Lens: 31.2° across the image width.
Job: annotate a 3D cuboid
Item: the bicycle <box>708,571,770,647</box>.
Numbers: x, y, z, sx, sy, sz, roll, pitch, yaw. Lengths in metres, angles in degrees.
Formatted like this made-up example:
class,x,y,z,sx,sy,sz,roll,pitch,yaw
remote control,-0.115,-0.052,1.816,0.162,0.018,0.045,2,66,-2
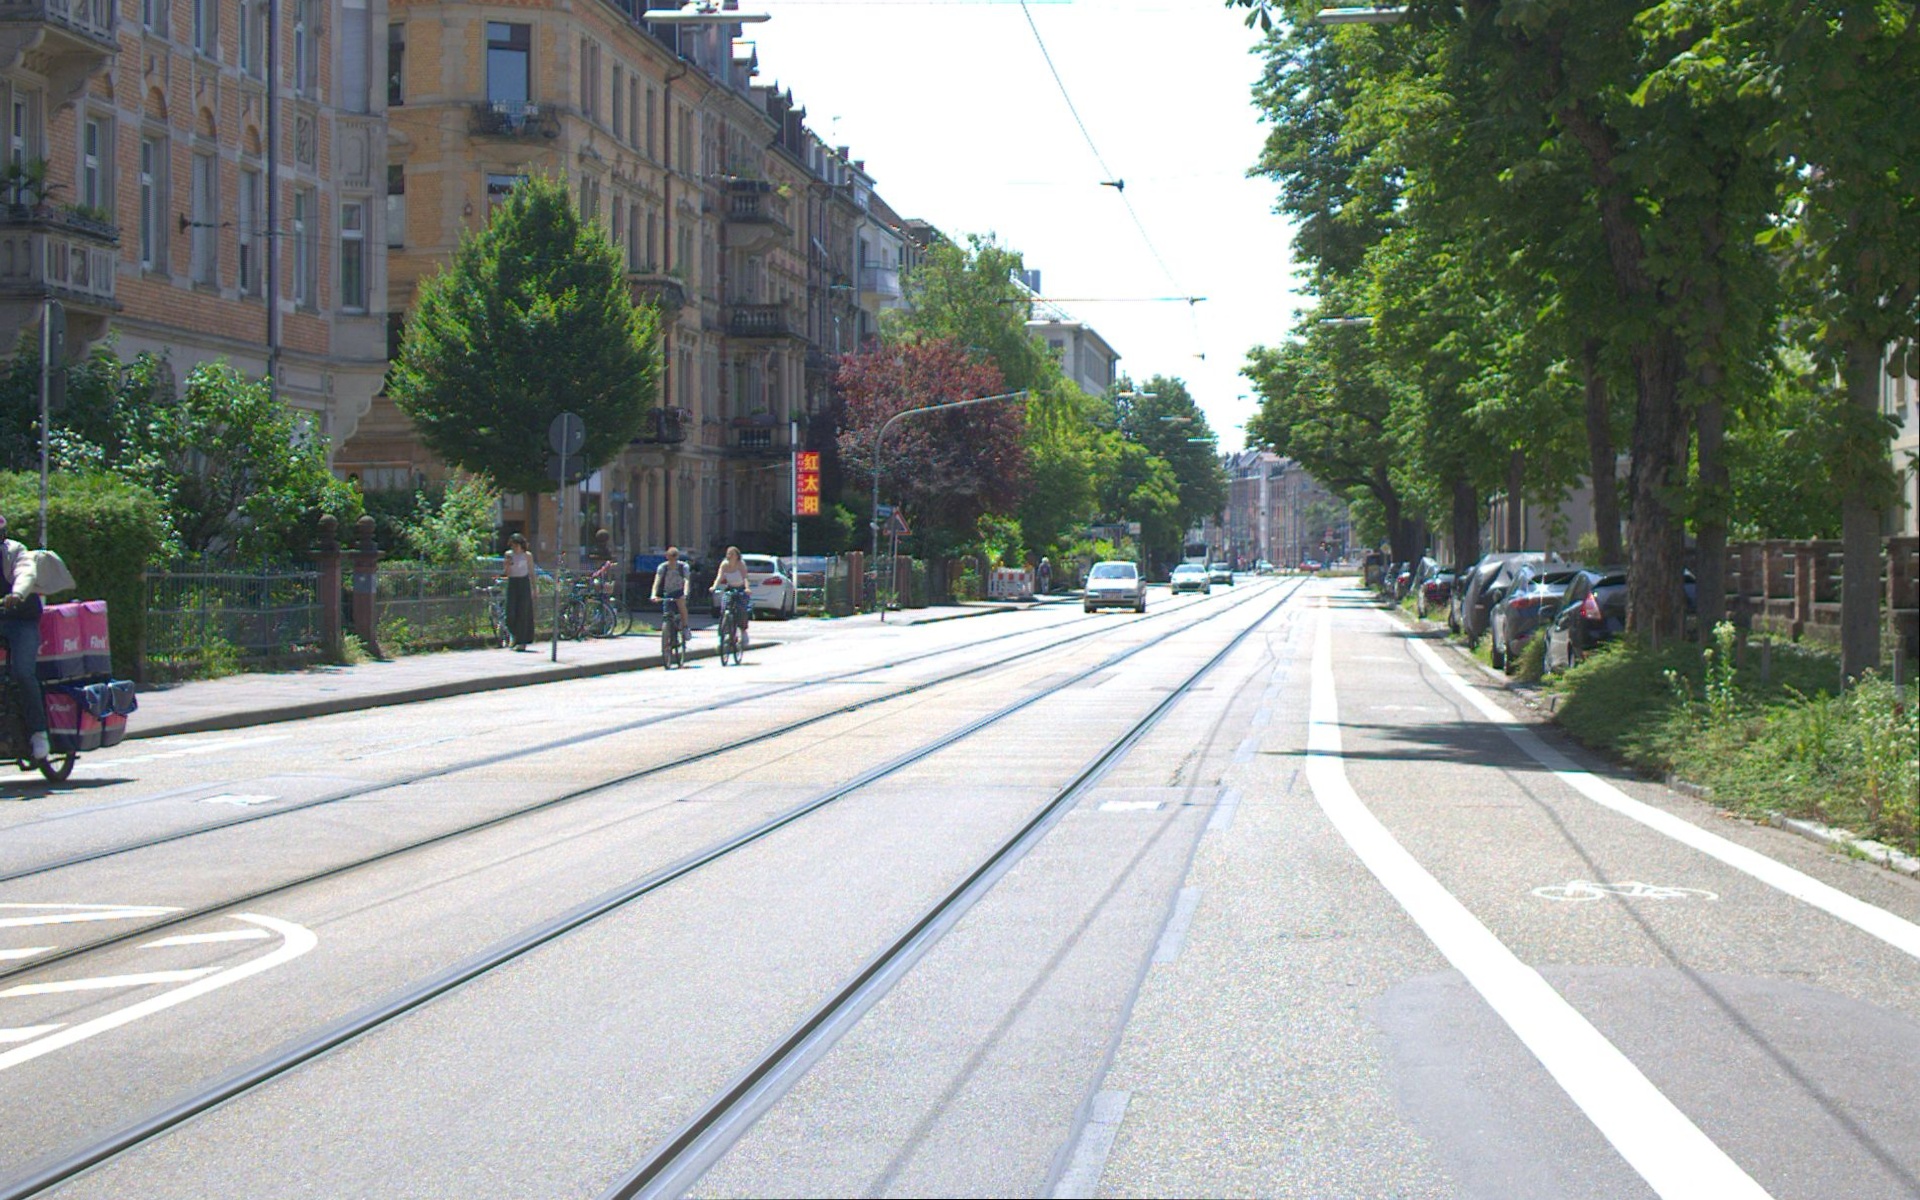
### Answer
class,x,y,z,sx,sy,sz,roll,pitch,yaw
bicycle,-3.239,0.118,50.522,0.581,1.074,1.890,-1,1,6

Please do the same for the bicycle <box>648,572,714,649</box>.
class,x,y,z,sx,sy,sz,roll,pitch,yaw
bicycle,-4.087,0.143,50.424,0.629,1.074,1.875,-1,1,6

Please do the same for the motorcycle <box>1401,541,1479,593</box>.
class,x,y,z,sx,sy,sz,roll,pitch,yaw
motorcycle,14.436,-0.987,103.512,0.867,1.535,2.319,0,1,-41

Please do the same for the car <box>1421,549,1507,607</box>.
class,x,y,z,sx,sy,sz,roll,pitch,yaw
car,12.893,-0.577,88.167,1.769,1.422,4.862,0,1,4

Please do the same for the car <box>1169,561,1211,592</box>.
class,x,y,z,sx,sy,sz,roll,pitch,yaw
car,10.717,-1.108,159.842,1.756,1.419,3.999,0,1,7

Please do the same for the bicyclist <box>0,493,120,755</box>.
class,x,y,z,sx,sy,sz,roll,pitch,yaw
bicyclist,-5.890,0.139,21.793,0.807,1.624,0.980,0,1,7

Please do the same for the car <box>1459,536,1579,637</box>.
class,x,y,z,sx,sy,sz,roll,pitch,yaw
car,9.574,-0.262,58.909,1.948,1.645,4.878,0,1,9

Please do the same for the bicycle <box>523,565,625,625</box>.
class,x,y,z,sx,sy,sz,roll,pitch,yaw
bicycle,-6.846,-0.088,61.012,1.706,1.033,0.551,1,1,11

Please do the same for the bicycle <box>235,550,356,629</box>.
class,x,y,z,sx,sy,sz,roll,pitch,yaw
bicycle,-8.857,-0.143,45.829,1.510,1.040,0.495,0,1,8

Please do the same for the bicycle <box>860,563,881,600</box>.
class,x,y,z,sx,sy,sz,roll,pitch,yaw
bicycle,-2.455,-0.505,94.472,0.454,1.000,1.806,0,1,3

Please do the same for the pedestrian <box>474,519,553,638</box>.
class,x,y,z,sx,sy,sz,roll,pitch,yaw
pedestrian,-6.662,-0.324,51.356,0.851,1.717,1.138,3,1,7

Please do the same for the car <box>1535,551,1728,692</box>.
class,x,y,z,sx,sy,sz,roll,pitch,yaw
car,7.683,0.205,39.625,1.657,1.510,4.000,0,1,3

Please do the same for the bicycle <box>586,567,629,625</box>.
class,x,y,z,sx,sy,sz,roll,pitch,yaw
bicycle,-6.103,-0.078,59.566,0.439,0.980,1.710,0,1,4

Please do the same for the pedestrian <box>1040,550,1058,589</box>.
class,x,y,z,sx,sy,sz,roll,pitch,yaw
pedestrian,3.725,-1.268,143.821,0.751,1.623,0.833,1,1,2

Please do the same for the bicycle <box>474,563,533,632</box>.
class,x,y,z,sx,sy,sz,roll,pitch,yaw
bicycle,-6.956,-0.048,52.432,0.496,0.984,1.710,4,1,4

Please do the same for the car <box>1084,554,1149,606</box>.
class,x,y,z,sx,sy,sz,roll,pitch,yaw
car,4.599,-0.589,100.325,1.685,1.444,3.999,0,1,6

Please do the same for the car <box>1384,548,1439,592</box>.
class,x,y,z,sx,sy,sz,roll,pitch,yaw
car,16.404,-1.108,124.963,1.774,1.496,4.305,-1,1,5

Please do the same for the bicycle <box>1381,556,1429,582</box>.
class,x,y,z,sx,sy,sz,roll,pitch,yaw
bicycle,17.983,-1.237,138.842,1.891,1.048,0.538,0,0,13

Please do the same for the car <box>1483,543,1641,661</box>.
class,x,y,z,sx,sy,sz,roll,pitch,yaw
car,8.388,-0.011,48.195,1.733,1.546,4.453,0,1,4

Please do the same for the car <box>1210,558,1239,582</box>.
class,x,y,z,sx,sy,sz,roll,pitch,yaw
car,16.469,-1.853,214.019,1.686,1.449,3.747,0,1,6

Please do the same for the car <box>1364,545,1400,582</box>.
class,x,y,z,sx,sy,sz,roll,pitch,yaw
car,24.271,-2.114,197.848,1.993,2.028,4.696,0,1,6

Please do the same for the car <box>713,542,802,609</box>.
class,x,y,z,sx,sy,sz,roll,pitch,yaw
car,-5.008,-0.628,85.577,1.865,1.594,4.102,1,1,1

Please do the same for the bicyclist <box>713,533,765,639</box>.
class,x,y,z,sx,sy,sz,roll,pitch,yaw
bicyclist,-3.240,-0.216,50.535,0.592,1.539,0.952,-1,1,6

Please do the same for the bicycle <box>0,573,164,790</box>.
class,x,y,z,sx,sy,sz,roll,pitch,yaw
bicycle,-5.883,0.475,21.819,0.807,1.267,2.550,0,1,7

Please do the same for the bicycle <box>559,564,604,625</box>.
class,x,y,z,sx,sy,sz,roll,pitch,yaw
bicycle,-6.329,-0.103,57.537,0.439,0.980,1.710,0,1,4

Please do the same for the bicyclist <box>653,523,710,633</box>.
class,x,y,z,sx,sy,sz,roll,pitch,yaw
bicyclist,-4.087,-0.327,50.520,0.634,1.579,1.028,-1,1,6
